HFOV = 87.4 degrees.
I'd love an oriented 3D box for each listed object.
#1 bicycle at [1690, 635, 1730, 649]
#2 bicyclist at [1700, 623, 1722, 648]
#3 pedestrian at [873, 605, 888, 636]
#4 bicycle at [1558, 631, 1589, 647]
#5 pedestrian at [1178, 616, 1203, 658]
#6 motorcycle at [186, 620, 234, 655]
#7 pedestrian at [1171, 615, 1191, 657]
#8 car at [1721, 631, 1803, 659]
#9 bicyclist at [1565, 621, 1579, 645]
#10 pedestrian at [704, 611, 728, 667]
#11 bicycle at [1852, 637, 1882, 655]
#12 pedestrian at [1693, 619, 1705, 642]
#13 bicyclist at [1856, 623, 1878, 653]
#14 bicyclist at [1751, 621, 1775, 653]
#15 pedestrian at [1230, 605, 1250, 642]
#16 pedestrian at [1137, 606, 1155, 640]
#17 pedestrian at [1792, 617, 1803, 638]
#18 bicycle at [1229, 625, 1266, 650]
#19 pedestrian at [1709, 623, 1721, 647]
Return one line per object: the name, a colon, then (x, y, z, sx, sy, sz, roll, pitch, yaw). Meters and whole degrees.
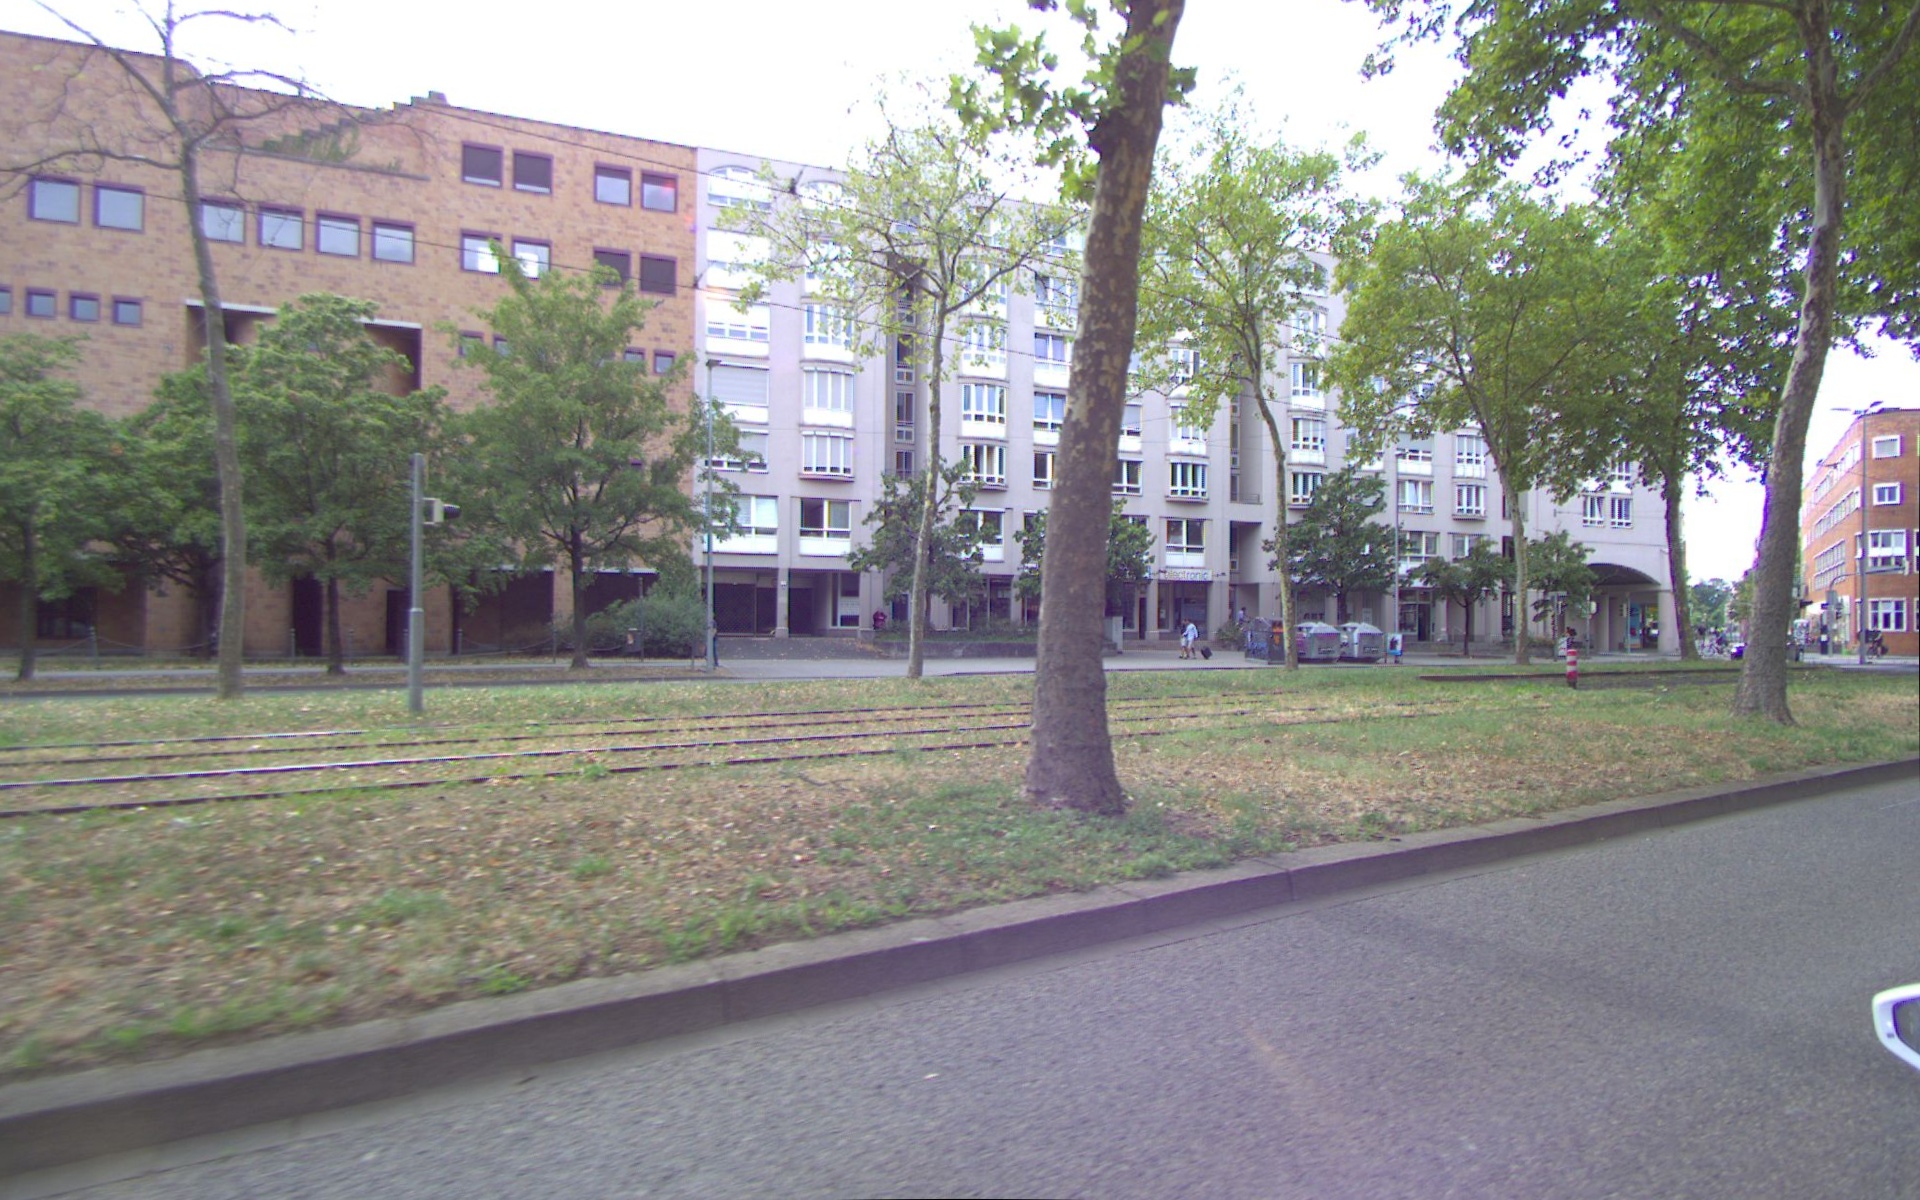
bicycle: (48.123, 2.703, 64.451, 1.949, 0.847, 0.579, 0, -1, 23)
bicyclist: (48.162, 2.255, 64.432, 1.014, 1.583, 0.582, 0, -1, 23)
pedestrian: (-3.438, 0.890, 43.358, 0.546, 1.340, 0.457, 0, -1, -20)
bicycle: (43.732, 2.796, 71.645, 1.841, 1.106, 0.577, 0, -1, 23)
pedestrian: (9.415, 1.500, 41.007, 0.873, 1.728, 0.550, 1, -1, -27)
motorcycle: (-27.018, 1.324, 36.165, 2.162, 1.207, 0.794, -1, -1, 37)
pedestrian: (9.150, 1.474, 41.532, 0.618, 1.728, 0.550, 1, -1, -27)
car: (38.532, 2.116, 48.211, 4.484, 1.261, 1.720, 1, -1, -32)
bicyclist: (43.666, 2.336, 71.686, 0.770, 1.695, 0.573, 0, -1, 23)
pedestrian: (-7.669, 1.209, 31.549, 0.618, 1.728, 0.550, 1, -1, -27)
bicycle: (56.696, 2.877, 62.789, 2.180, 1.107, 0.675, 1, -2, -27)
pedestrian: (56.629, 2.346, 76.963, 0.664, 1.702, 0.751, 0, -1, 32)
bicyclist: (56.713, 2.378, 62.814, 1.067, 1.872, 0.664, 1, -2, -27)
bicyclist: (43.587, 2.019, 54.524, 0.939, 1.695, 0.688, 1, -1, -23)
pedestrian: (14.134, 1.176, 50.722, 0.682, 1.833, 0.768, 1, -1, -21)
pedestrian: (9.430, 1.163, 50.972, 0.650, 1.694, 0.635, 1, -1, -22)
pedestrian: (73.597, 2.418, 88.273, 0.682, 1.841, 0.654, 0, -1, 33)
bicycle: (13.909, 1.814, 48.630, 1.814, 1.228, 0.532, 1, -1, -24)
pedestrian: (64.506, 3.005, 85.825, 0.779, 1.990, 0.803, 0, -1, 35)
